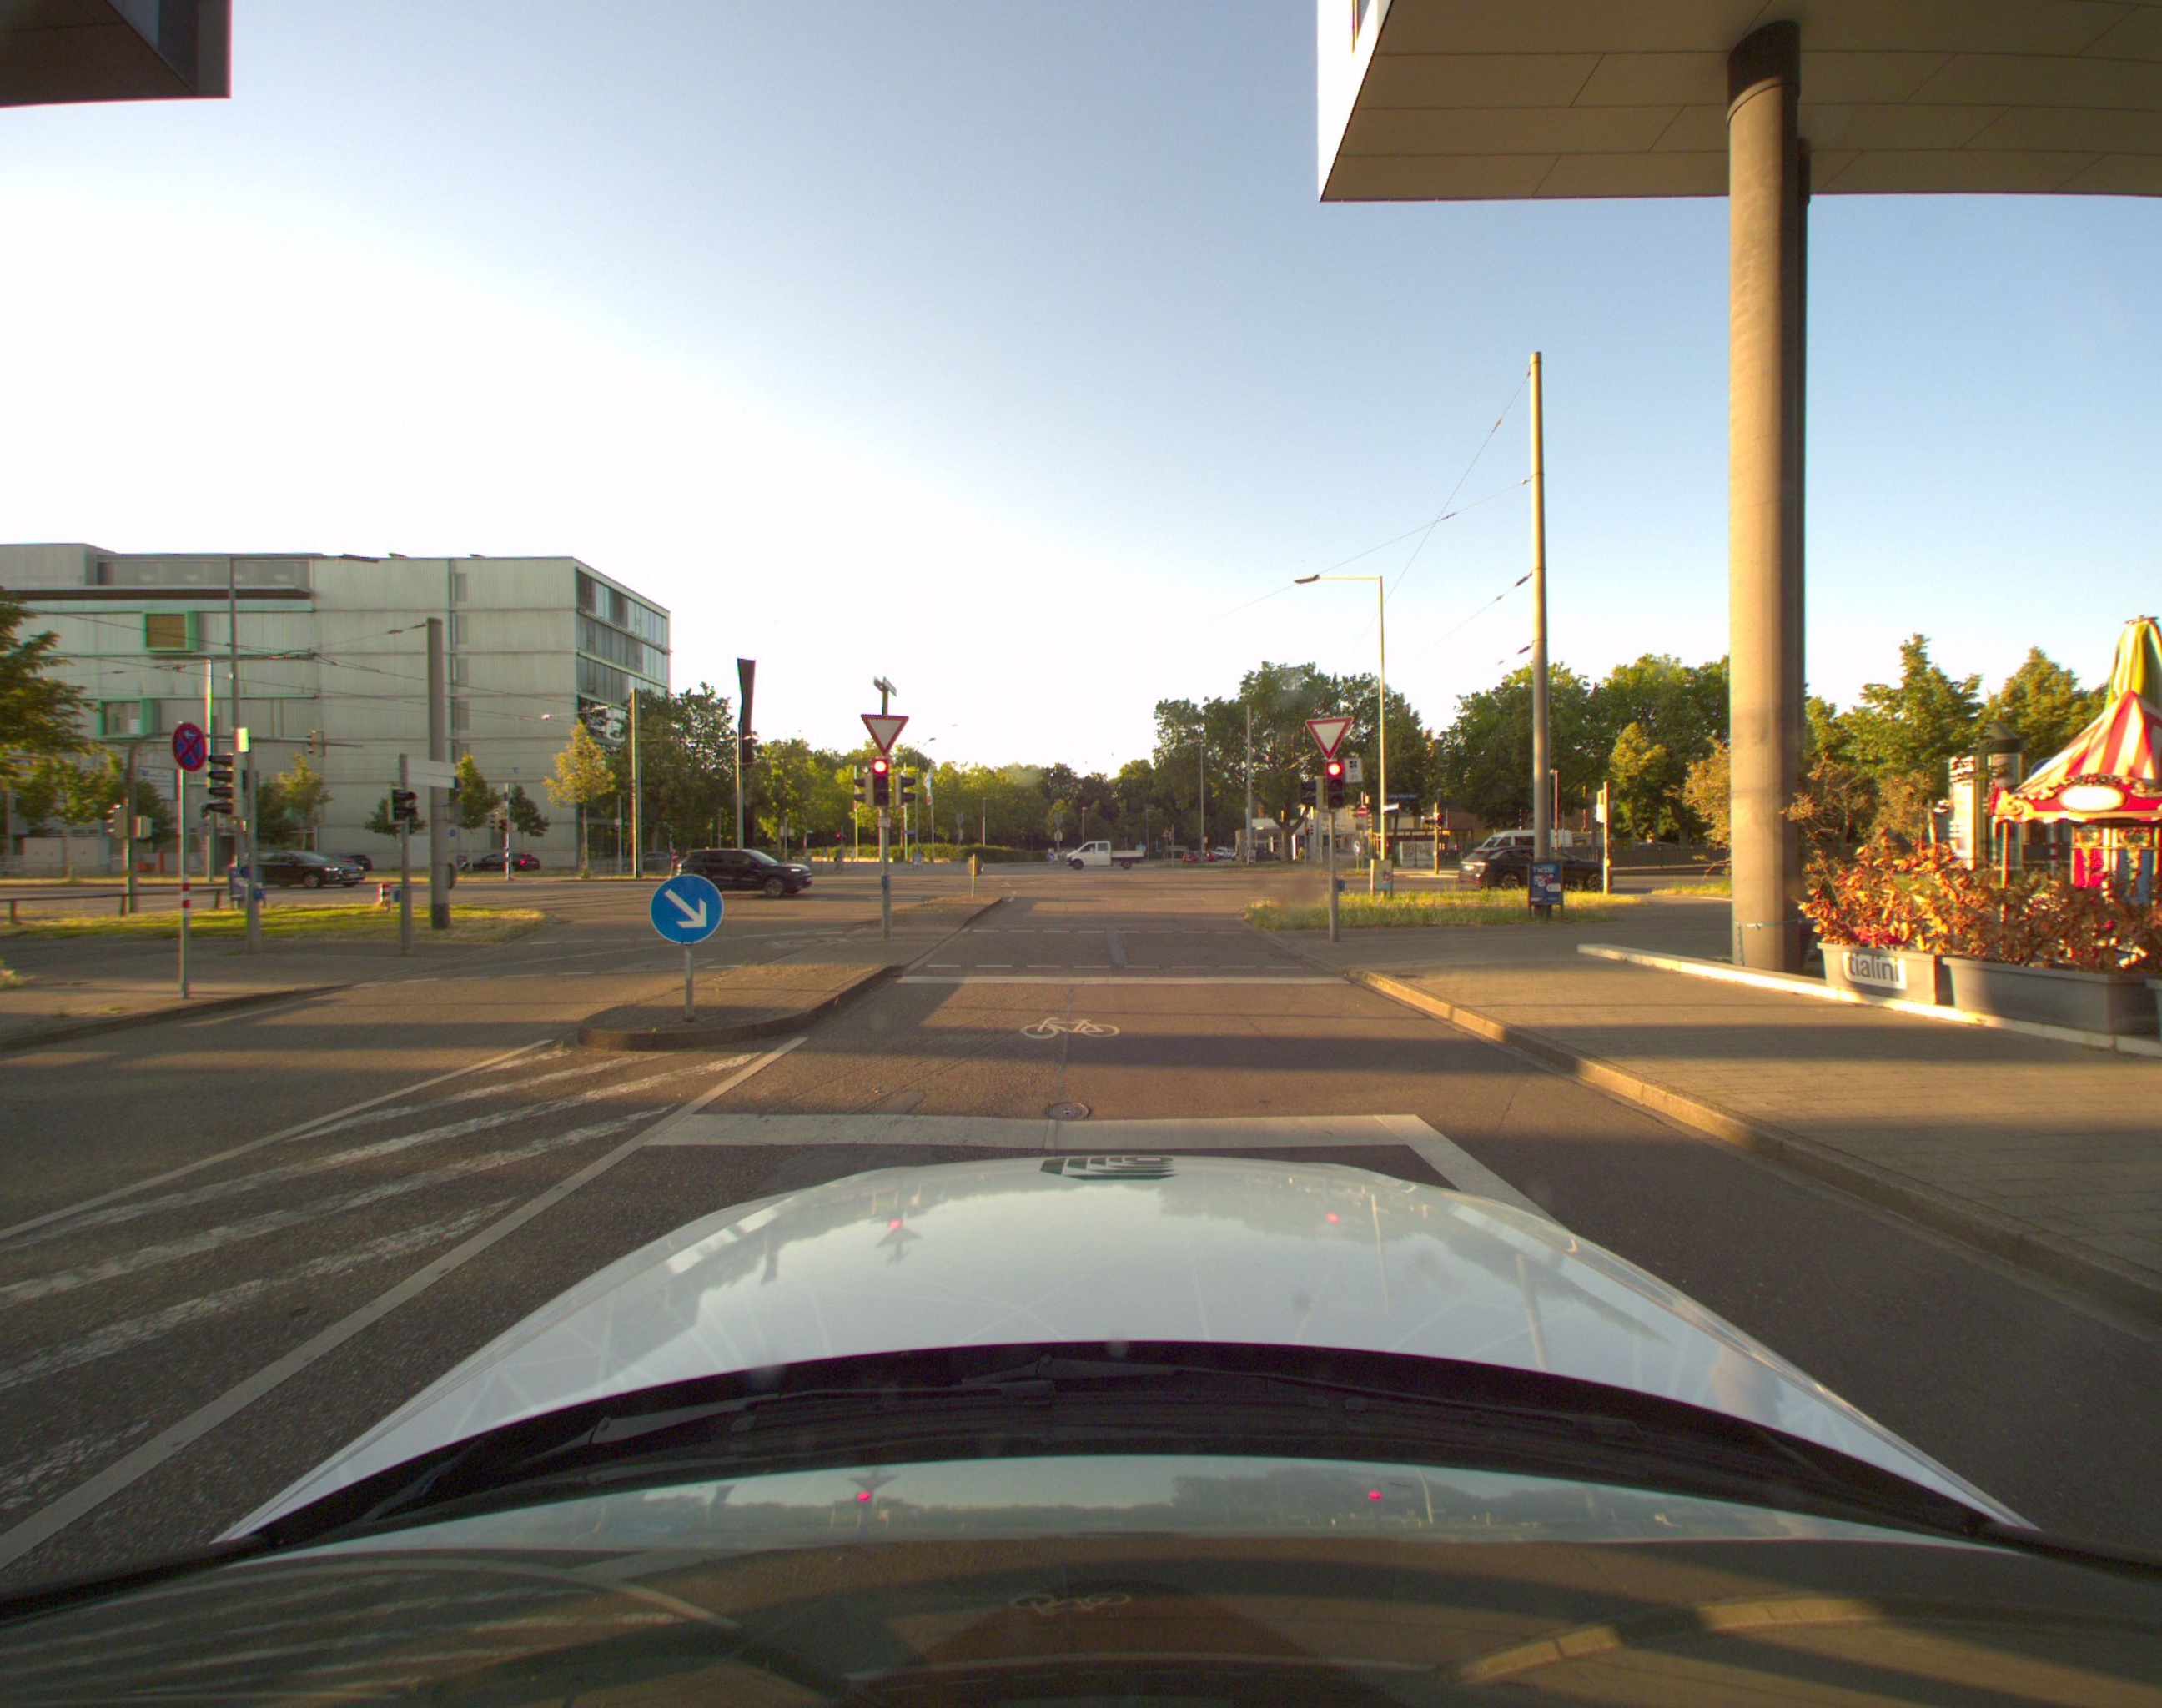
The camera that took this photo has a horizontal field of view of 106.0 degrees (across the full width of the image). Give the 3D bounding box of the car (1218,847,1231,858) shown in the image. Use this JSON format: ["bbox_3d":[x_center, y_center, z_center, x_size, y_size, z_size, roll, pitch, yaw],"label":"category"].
[{"bbox_3d":[23.932,-0.248,135.737,1.849,1.794,4.015,-1,-1,14],"label":"car"}]

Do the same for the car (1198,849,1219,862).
[{"bbox_3d":[16.207,0.222,103.179,1.978,1.662,4.018,-1,-1,17],"label":"car"}]

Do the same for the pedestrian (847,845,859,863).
[{"bbox_3d":[-22.805,0.005,81.498,0.852,1.744,0.835,-1,0,39],"label":"pedestrian"}]

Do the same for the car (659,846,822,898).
[{"bbox_3d":[-10.922,0.557,26.416,4.424,1.574,1.998,-1,0,-3],"label":"car"}]

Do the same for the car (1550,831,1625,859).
[{"bbox_3d":[47.858,-0.843,77.071,5.561,2.551,2.235,-1,0,9],"label":"car"}]

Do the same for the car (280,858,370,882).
[{"bbox_3d":[-52.868,1.127,57.004,4.454,1.552,2.001,-1,-1,3],"label":"car"}]

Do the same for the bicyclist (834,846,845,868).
[{"bbox_3d":[-18.947,0.225,63.782,0.753,1.709,0.914,-1,0,-20],"label":"bicyclist"}]

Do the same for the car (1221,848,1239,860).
[{"bbox_3d":[21.087,0.006,115.300,1.978,1.662,4.018,-1,-1,17],"label":"car"}]

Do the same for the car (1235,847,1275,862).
[{"bbox_3d":[18.923,0.017,88.900,4.194,1.552,2.005,-1,-1,9],"label":"car"}]

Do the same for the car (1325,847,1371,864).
[{"bbox_3d":[23.528,0.136,71.939,3.715,1.440,1.669,-1,-1,11],"label":"car"}]

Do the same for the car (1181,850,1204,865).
[{"bbox_3d":[13.104,0.384,95.559,1.978,1.662,4.018,-1,-1,17],"label":"car"}]

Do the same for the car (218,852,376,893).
[{"bbox_3d":[-32.507,0.745,33.895,4.467,1.557,1.986,-1,0,-4],"label":"car"}]

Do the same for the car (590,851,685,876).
[{"bbox_3d":[-29.499,0.657,54.293,5.206,1.552,2.000,-1,-1,1],"label":"car"}]

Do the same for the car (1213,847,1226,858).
[{"bbox_3d":[22.268,-0.241,130.879,1.850,1.794,4.013,-1,-1,12],"label":"car"}]

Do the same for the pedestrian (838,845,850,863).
[{"bbox_3d":[-23.446,-0.034,80.581,0.852,1.744,0.835,-1,0,30],"label":"pedestrian"}]

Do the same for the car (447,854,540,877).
[{"bbox_3d":[-41.652,0.827,57.810,5.082,1.552,2.000,-1,-1,1],"label":"car"}]

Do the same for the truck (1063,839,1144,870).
[{"bbox_3d":[1.609,0.033,56.824,5.535,2.054,2.069,-1,0,2],"label":"truck"}]

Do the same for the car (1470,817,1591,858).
[{"bbox_3d":[31.249,-1.109,56.854,6.892,2.636,2.812,-1,-1,1],"label":"car"}]

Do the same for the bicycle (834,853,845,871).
[{"bbox_3d":[-19.005,0.597,64.013,0.732,1.341,2.673,-1,0,-19],"label":"bicycle"}]

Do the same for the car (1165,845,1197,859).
[{"bbox_3d":[15.415,-0.322,125.729,4.753,2.006,2.002,-1,-1,3],"label":"car"}]

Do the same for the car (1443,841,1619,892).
[{"bbox_3d":[15.200,0.403,27.692,4.893,1.614,1.999,-1,0,-1],"label":"car"}]
